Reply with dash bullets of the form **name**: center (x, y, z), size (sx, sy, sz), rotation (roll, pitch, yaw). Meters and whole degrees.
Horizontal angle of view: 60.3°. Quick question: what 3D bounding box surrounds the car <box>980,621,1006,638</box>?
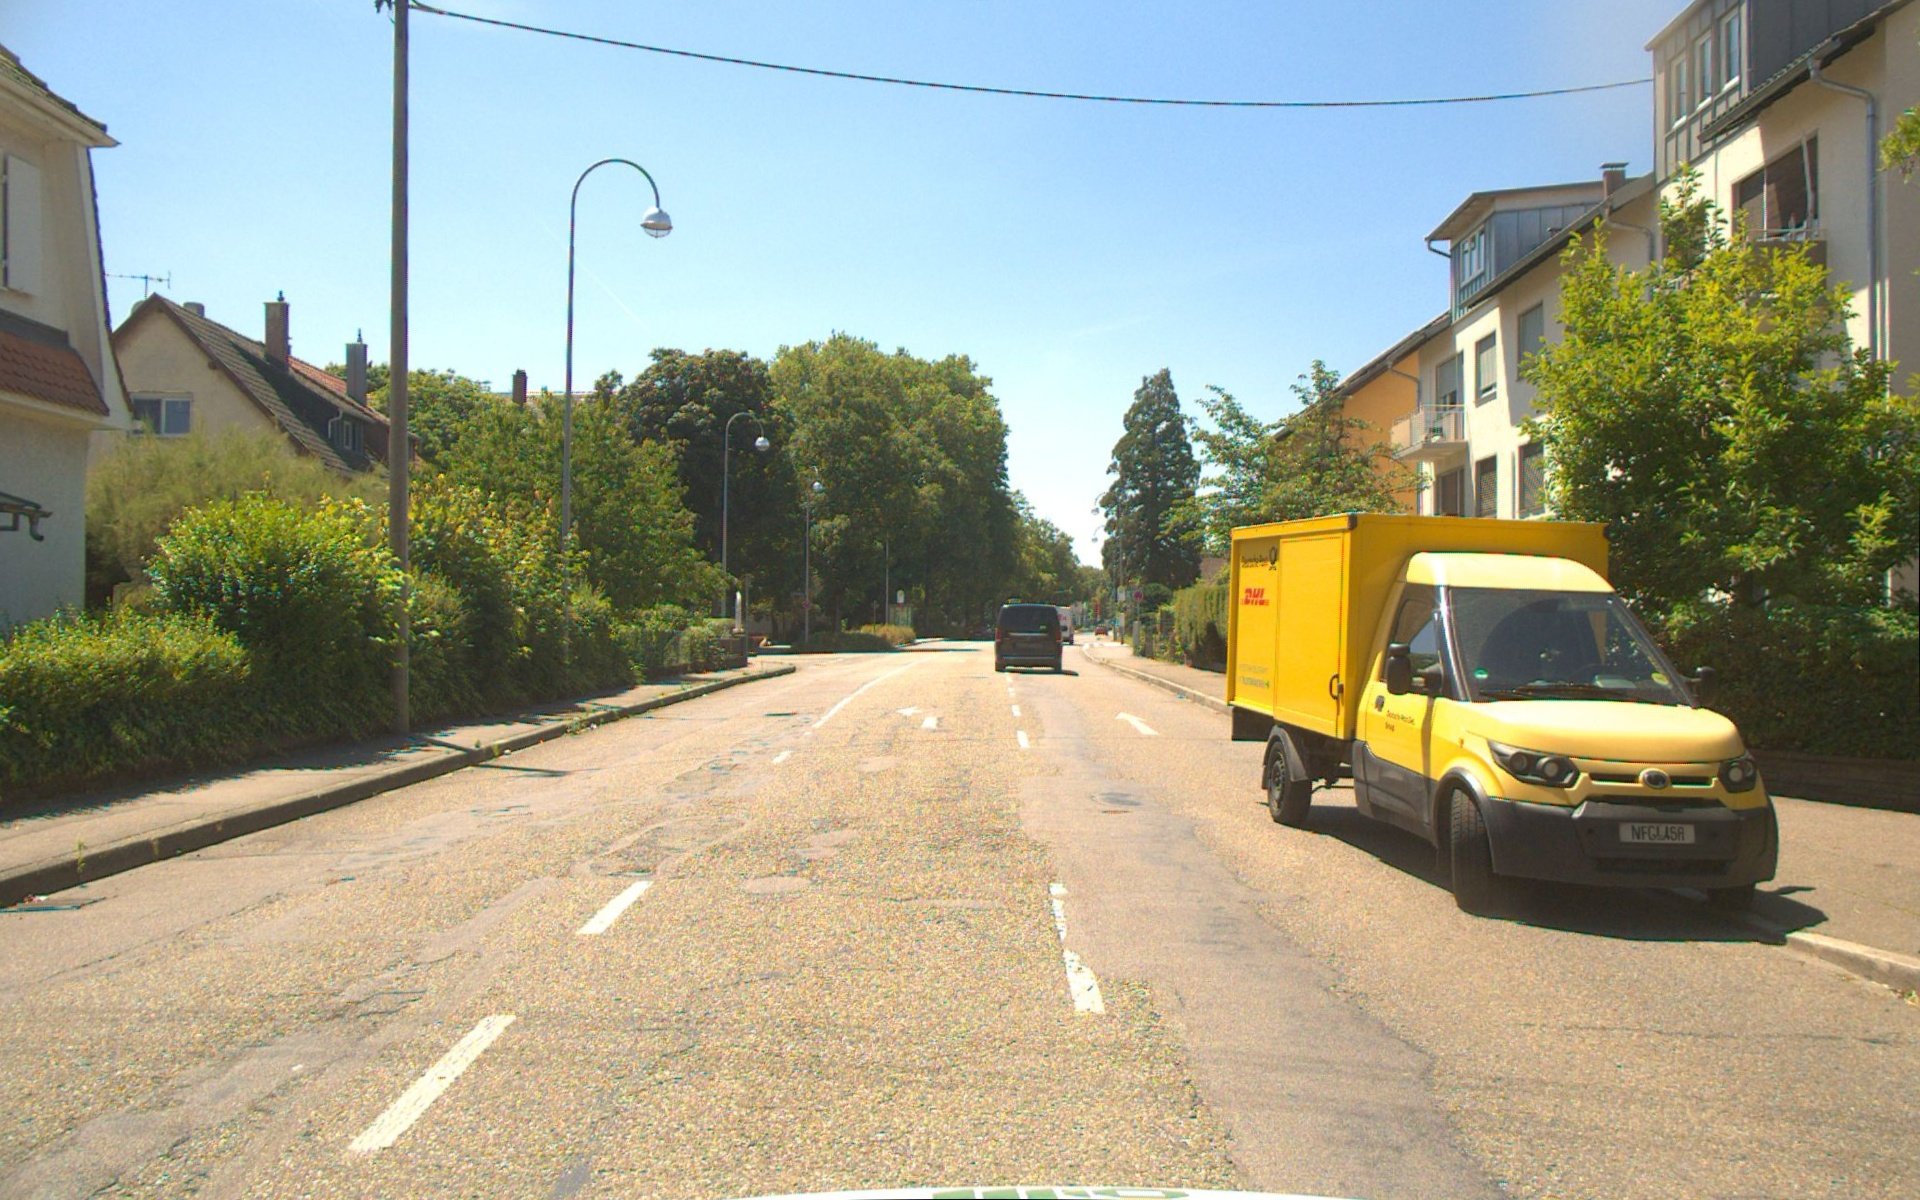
- **car**: center (3.021, 2.651, 149.017), size (1.655, 1.485, 3.642), rotation (1, 0, 12)

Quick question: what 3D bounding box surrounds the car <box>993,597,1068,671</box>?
- **car**: center (1.996, 0.906, 46.039), size (1.952, 1.926, 4.002), rotation (1, 0, 3)

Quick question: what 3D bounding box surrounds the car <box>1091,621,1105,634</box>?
- **car**: center (18.809, 3.808, 225.697), size (1.819, 1.672, 4.001), rotation (1, 0, 3)

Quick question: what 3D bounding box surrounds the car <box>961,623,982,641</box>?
- **car**: center (1.014, 2.687, 140.407), size (1.518, 1.476, 3.692), rotation (1, -1, 4)

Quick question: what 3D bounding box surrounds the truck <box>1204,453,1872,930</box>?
- **truck**: center (3.413, 0.476, 11.482), size (1.974, 2.349, 6.170), rotation (2, 0, -5)

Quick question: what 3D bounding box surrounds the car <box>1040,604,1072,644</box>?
- **car**: center (6.733, 1.640, 116.550), size (2.076, 2.724, 5.664), rotation (1, 0, 3)
